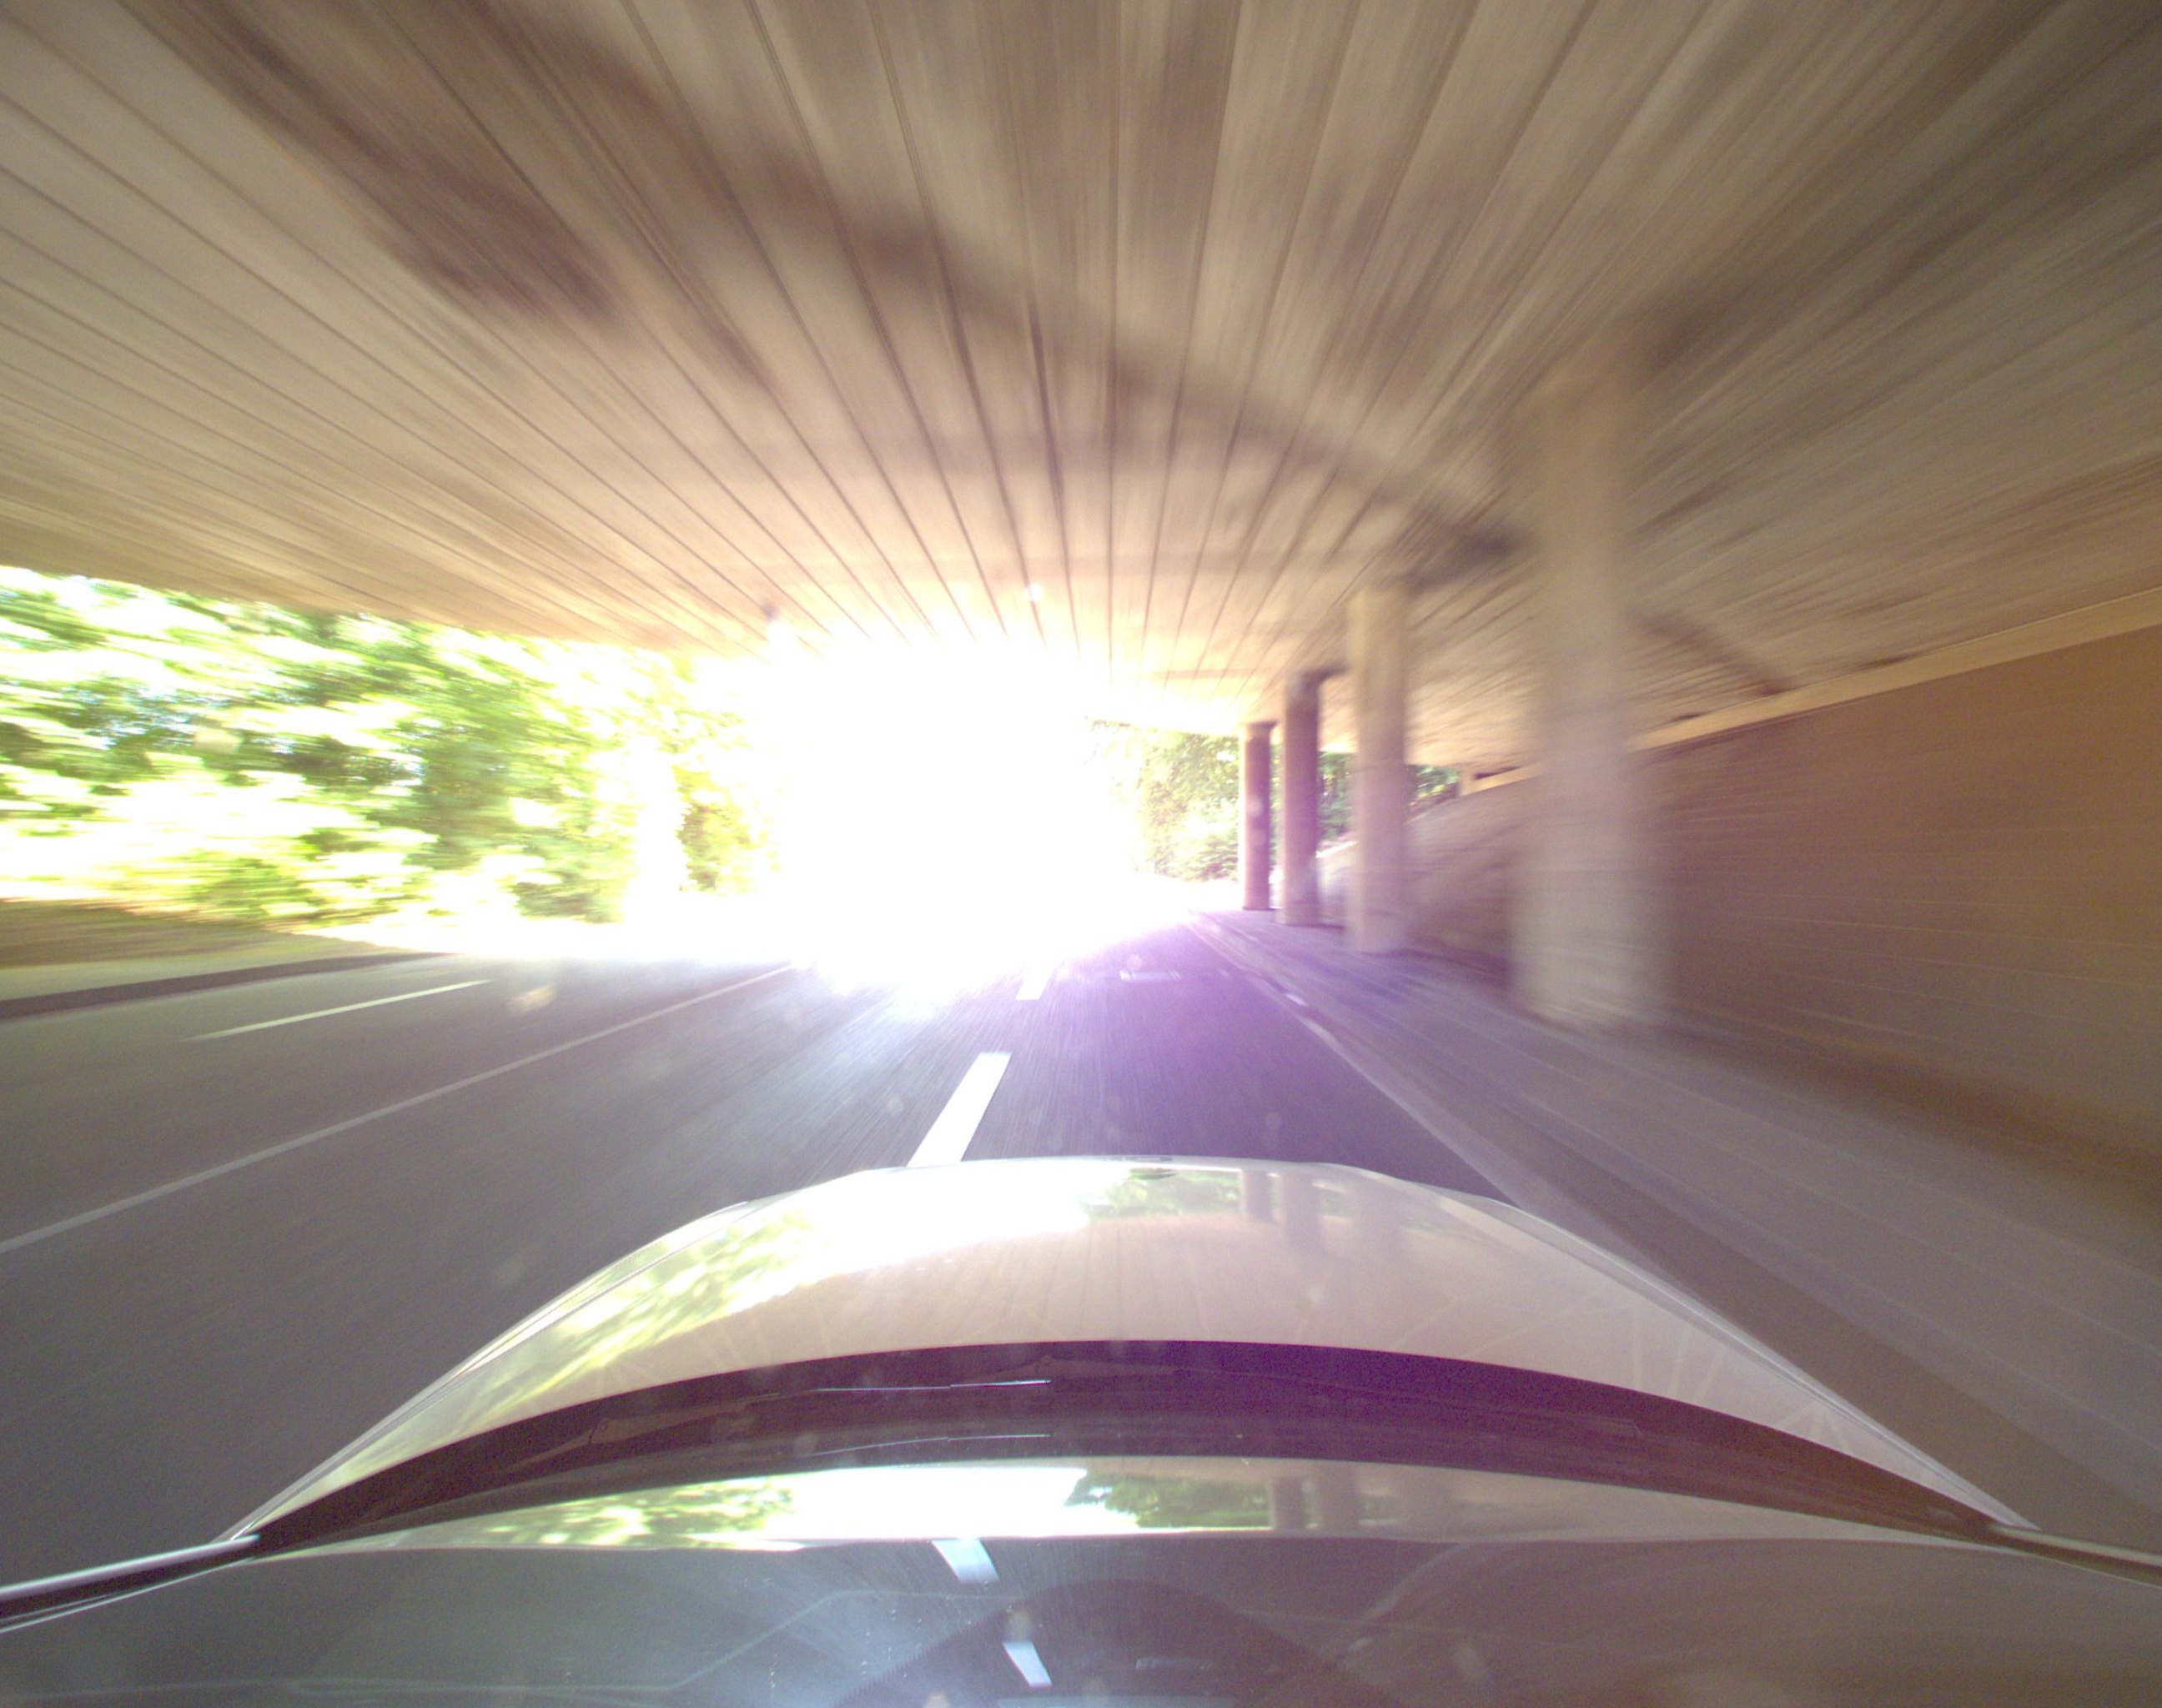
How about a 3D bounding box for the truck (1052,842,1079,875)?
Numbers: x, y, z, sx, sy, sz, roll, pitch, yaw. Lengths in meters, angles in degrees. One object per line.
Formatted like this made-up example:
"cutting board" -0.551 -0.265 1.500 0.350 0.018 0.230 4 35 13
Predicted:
"truck" -1.488 0.398 80.765 2.526 3.135 5.359 -1 0 -1
